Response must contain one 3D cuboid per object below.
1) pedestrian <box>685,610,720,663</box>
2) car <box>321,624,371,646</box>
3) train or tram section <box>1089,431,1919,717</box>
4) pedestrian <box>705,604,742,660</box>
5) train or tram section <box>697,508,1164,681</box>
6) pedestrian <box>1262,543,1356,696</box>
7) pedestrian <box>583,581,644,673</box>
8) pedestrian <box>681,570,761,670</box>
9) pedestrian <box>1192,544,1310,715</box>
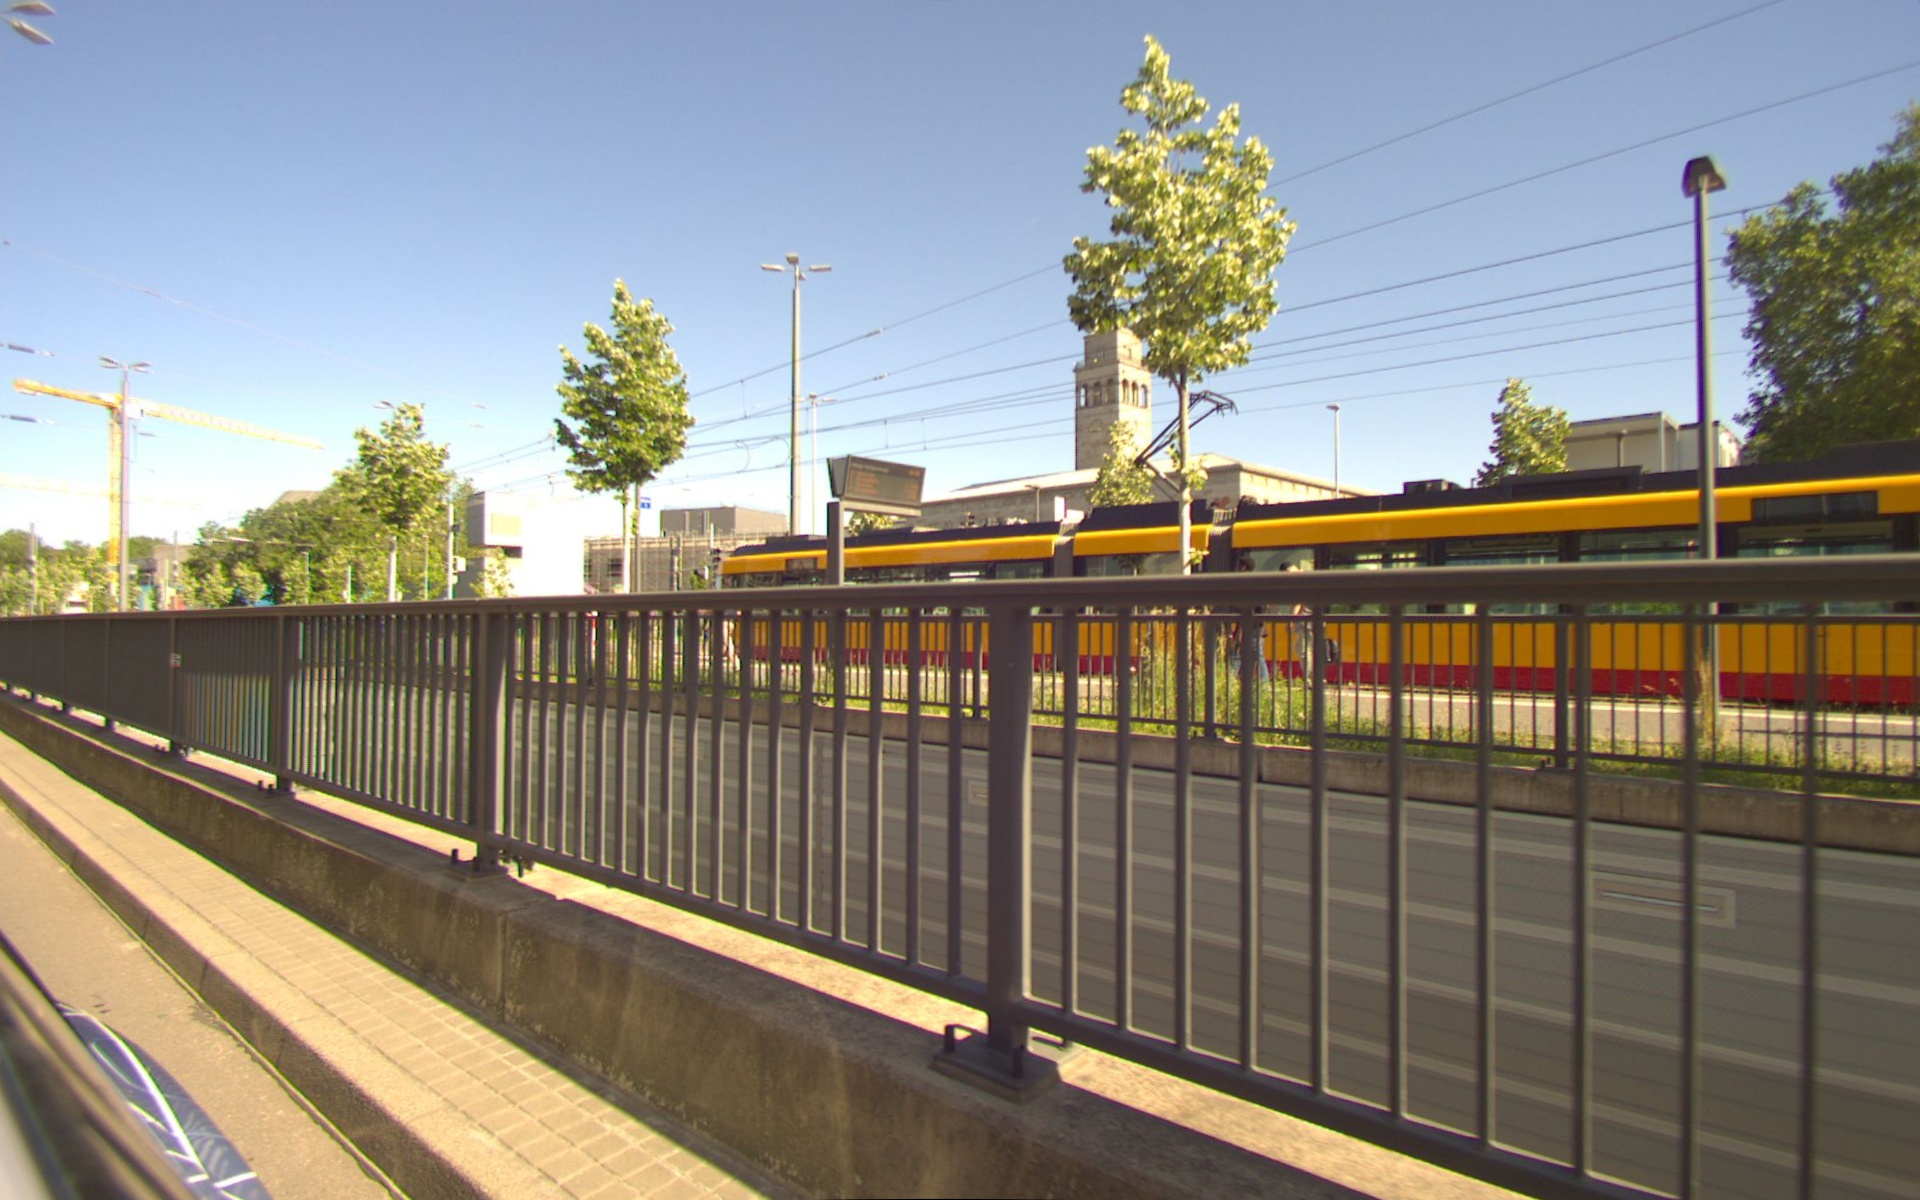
[{"bbox_3d":[-9.090,1.283,35.745,0.975,1.837,0.792,-2,-2,39],"label":"pedestrian"},{"bbox_3d":[-45.693,2.627,75.313,4.830,1.573,1.971,-2,-2,43],"label":"car"},{"bbox_3d":[9.432,-0.275,15.344,15.958,3.346,2.818,-1,1,41],"label":"train or tram section"},{"bbox_3d":[-7.925,1.065,33.900,0.975,1.837,0.792,-2,-2,39],"label":"pedestrian"},{"bbox_3d":[-1.473,-0.001,24.989,13.066,3.334,2.841,-2,0,41],"label":"train or tram section"},{"bbox_3d":[4.263,0.236,12.343,0.825,1.788,0.754,-3,-1,38],"label":"pedestrian"},{"bbox_3d":[-6.942,0.534,20.274,0.958,1.788,0.696,-3,-1,38],"label":"pedestrian"},{"bbox_3d":[-4.433,0.368,18.774,1.187,1.788,0.865,-3,-1,38],"label":"pedestrian"},{"bbox_3d":[3.226,0.322,11.207,0.977,1.788,0.783,-3,-1,38],"label":"pedestrian"}]
